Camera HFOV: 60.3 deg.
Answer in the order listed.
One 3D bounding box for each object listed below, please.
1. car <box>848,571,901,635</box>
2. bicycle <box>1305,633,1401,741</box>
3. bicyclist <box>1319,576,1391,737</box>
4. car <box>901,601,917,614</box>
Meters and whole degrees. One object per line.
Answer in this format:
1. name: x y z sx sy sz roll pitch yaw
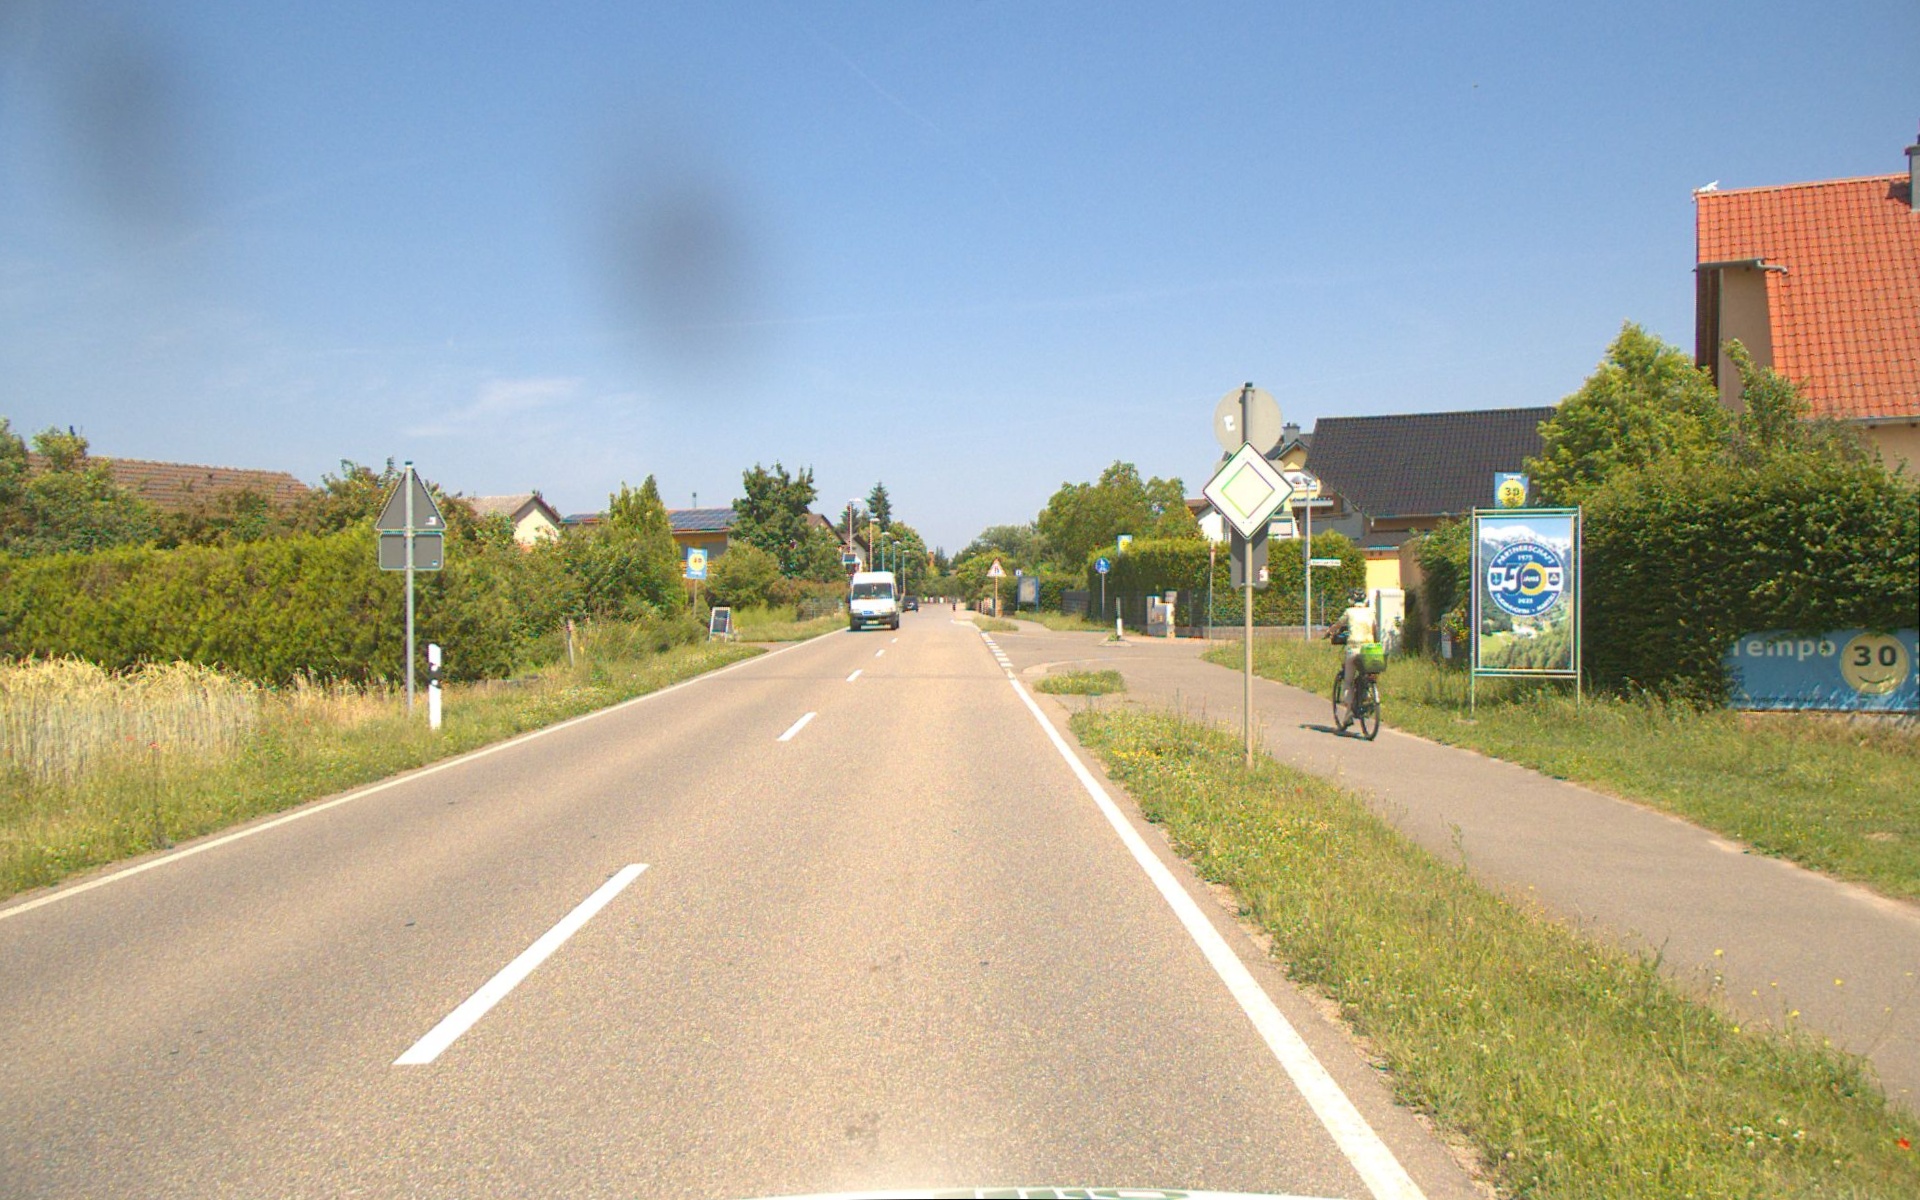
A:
1. car: -3.665 0.095 71.802 2.035 2.586 5.872 -2 0 -1
2. bicycle: 4.850 1.042 20.538 0.598 1.179 2.274 1 1 -1
3. bicyclist: 4.853 0.677 20.364 0.632 1.922 0.861 1 1 -1
4. car: -5.708 0.822 185.825 1.723 1.409 3.452 -2 0 -1
